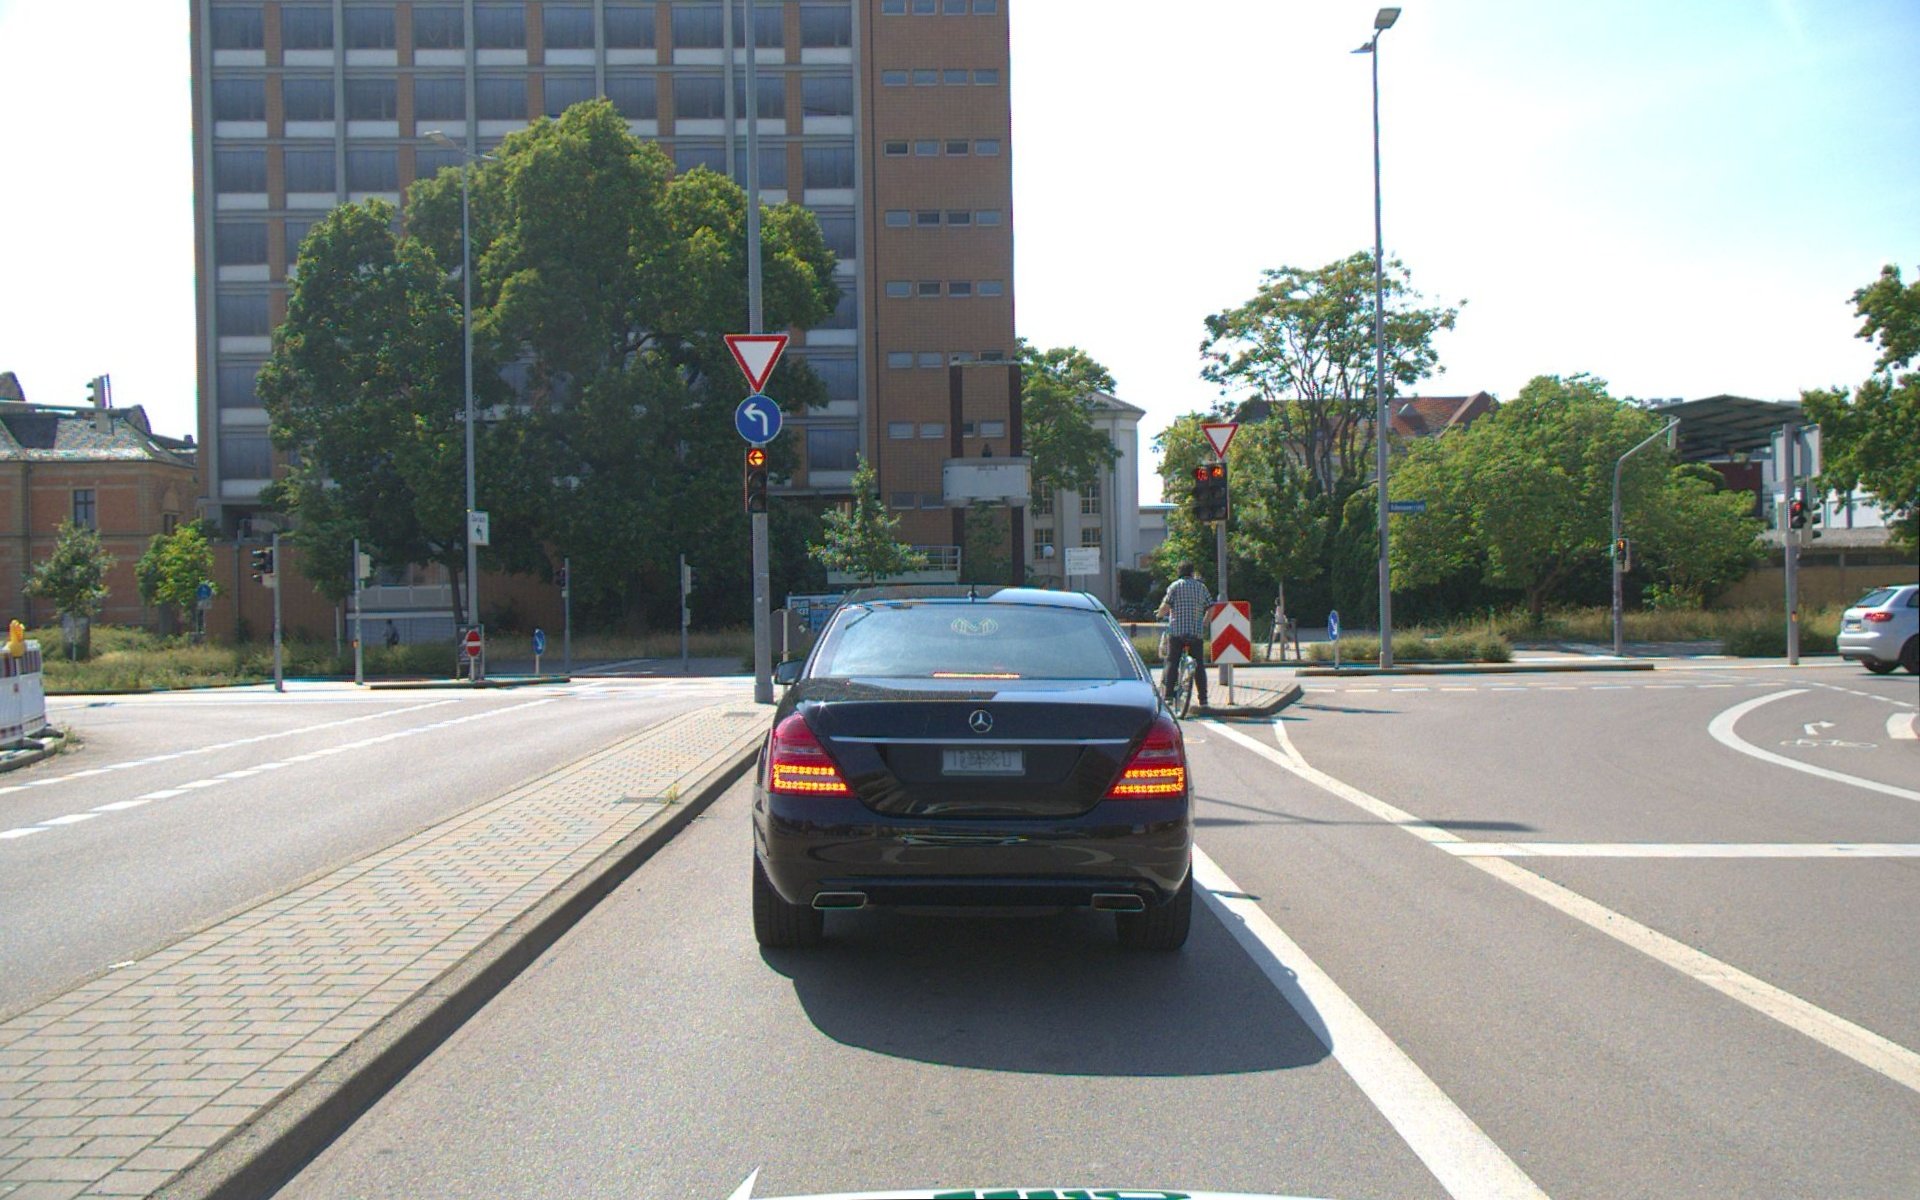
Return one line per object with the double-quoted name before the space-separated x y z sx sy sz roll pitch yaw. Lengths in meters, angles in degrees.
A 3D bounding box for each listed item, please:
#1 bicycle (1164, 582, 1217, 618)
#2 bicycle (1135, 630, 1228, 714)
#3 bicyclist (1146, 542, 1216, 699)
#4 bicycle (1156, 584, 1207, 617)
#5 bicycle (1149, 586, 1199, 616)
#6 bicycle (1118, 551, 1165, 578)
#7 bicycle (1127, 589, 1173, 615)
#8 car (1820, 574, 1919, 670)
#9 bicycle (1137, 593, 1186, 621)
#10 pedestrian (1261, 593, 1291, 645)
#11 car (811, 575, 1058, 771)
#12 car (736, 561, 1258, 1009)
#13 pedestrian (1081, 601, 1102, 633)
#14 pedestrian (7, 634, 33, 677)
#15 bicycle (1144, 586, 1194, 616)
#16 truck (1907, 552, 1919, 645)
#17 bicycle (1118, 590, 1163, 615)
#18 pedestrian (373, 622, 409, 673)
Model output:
"bicycle" 12.749 -0.005 91.711 2.766 1.868 0.841 -2 0 -2
"bicycle" 2.738 0.878 20.650 0.679 0.963 1.955 1 0 -7
"bicyclist" 2.744 0.256 20.623 0.673 1.911 0.858 0 0 -7
"bicycle" 12.580 0.039 93.968 2.766 1.775 0.841 -2 0 -2
"bicycle" 12.339 0.051 95.442 2.766 1.678 0.841 -2 0 -2
"bicycle" 11.271 -2.206 102.565 2.766 1.586 0.841 -2 0 -2
"bicycle" 12.004 0.124 104.721 2.766 1.526 0.841 -2 0 -2
"car" 16.025 0.289 26.050 4.069 1.445 1.586 -2 0 9
"bicycle" 12.012 0.410 98.519 2.766 1.564 0.841 -2 0 -2
"pedestrian" 9.986 0.592 52.307 0.794 1.607 0.692 -1 -1 1
"car" -0.228 0.595 15.223 1.953 1.534 3.999 1 0 -1
"car" 0.034 0.662 8.160 1.821 1.557 4.711 1 0 -3
"pedestrian" 5.077 0.656 63.877 0.776 1.235 0.758 1 0 6
"pedestrian" -37.288 2.193 65.610 0.635 1.690 0.649 1 -1 25
"bicycle" 12.184 0.058 96.506 2.766 1.688 0.841 -2 1 -2
"truck" 28.115 -0.148 41.856 6.881 2.397 2.413 -2 0 0
"bicycle" 11.572 0.170 106.335 2.765 1.506 0.841 -2 0 0
"pedestrian" -19.846 1.657 57.736 0.781 1.756 0.873 -2 -1 22
